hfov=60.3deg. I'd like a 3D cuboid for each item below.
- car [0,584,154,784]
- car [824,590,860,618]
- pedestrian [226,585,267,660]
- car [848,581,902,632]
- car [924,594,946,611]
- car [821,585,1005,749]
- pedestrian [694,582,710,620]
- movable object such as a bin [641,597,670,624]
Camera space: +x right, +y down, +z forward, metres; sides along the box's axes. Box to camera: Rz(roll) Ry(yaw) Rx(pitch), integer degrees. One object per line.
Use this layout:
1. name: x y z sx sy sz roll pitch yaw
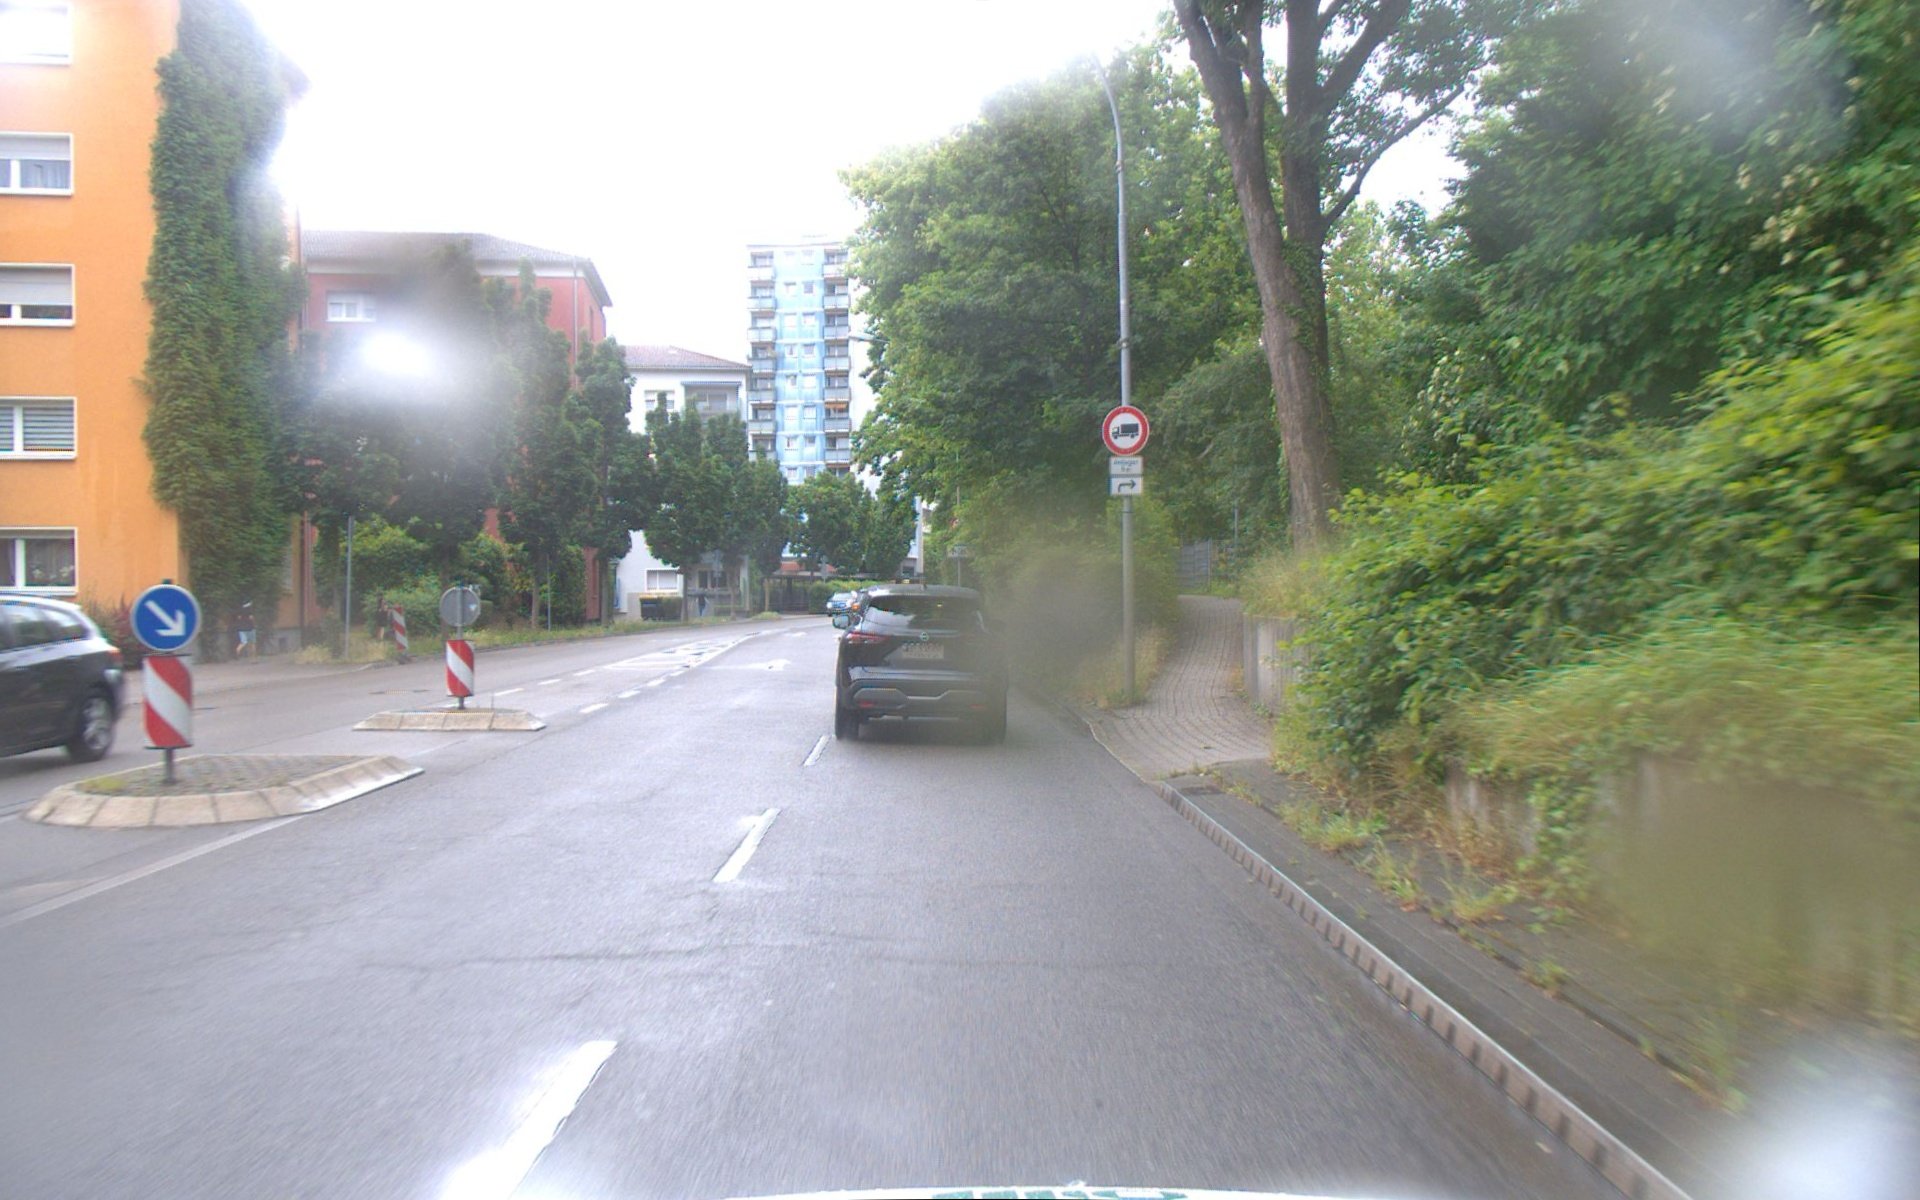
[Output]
1. car: -8.259 0.671 13.009 1.752 1.530 4.645 -2 0 -4
2. car: -8.043 0.246 113.085 1.761 1.873 4.003 -1 0 5
3. pedestrian: -15.937 0.497 36.952 0.574 1.632 0.661 -2 0 -1
4. car: -2.980 0.232 58.309 1.849 1.741 3.998 0 0 -2
5. car: -2.058 0.188 137.116 1.468 1.372 3.362 -1 0 5
6. car: -0.568 0.662 18.363 1.808 1.610 3.997 1 0 -3
7. pedestrian: -14.038 0.039 89.949 0.701 2.049 0.950 -1 0 -1
8. movable object such as a bin: -15.996 0.548 86.954 1.294 1.385 1.258 -1 0 -1
